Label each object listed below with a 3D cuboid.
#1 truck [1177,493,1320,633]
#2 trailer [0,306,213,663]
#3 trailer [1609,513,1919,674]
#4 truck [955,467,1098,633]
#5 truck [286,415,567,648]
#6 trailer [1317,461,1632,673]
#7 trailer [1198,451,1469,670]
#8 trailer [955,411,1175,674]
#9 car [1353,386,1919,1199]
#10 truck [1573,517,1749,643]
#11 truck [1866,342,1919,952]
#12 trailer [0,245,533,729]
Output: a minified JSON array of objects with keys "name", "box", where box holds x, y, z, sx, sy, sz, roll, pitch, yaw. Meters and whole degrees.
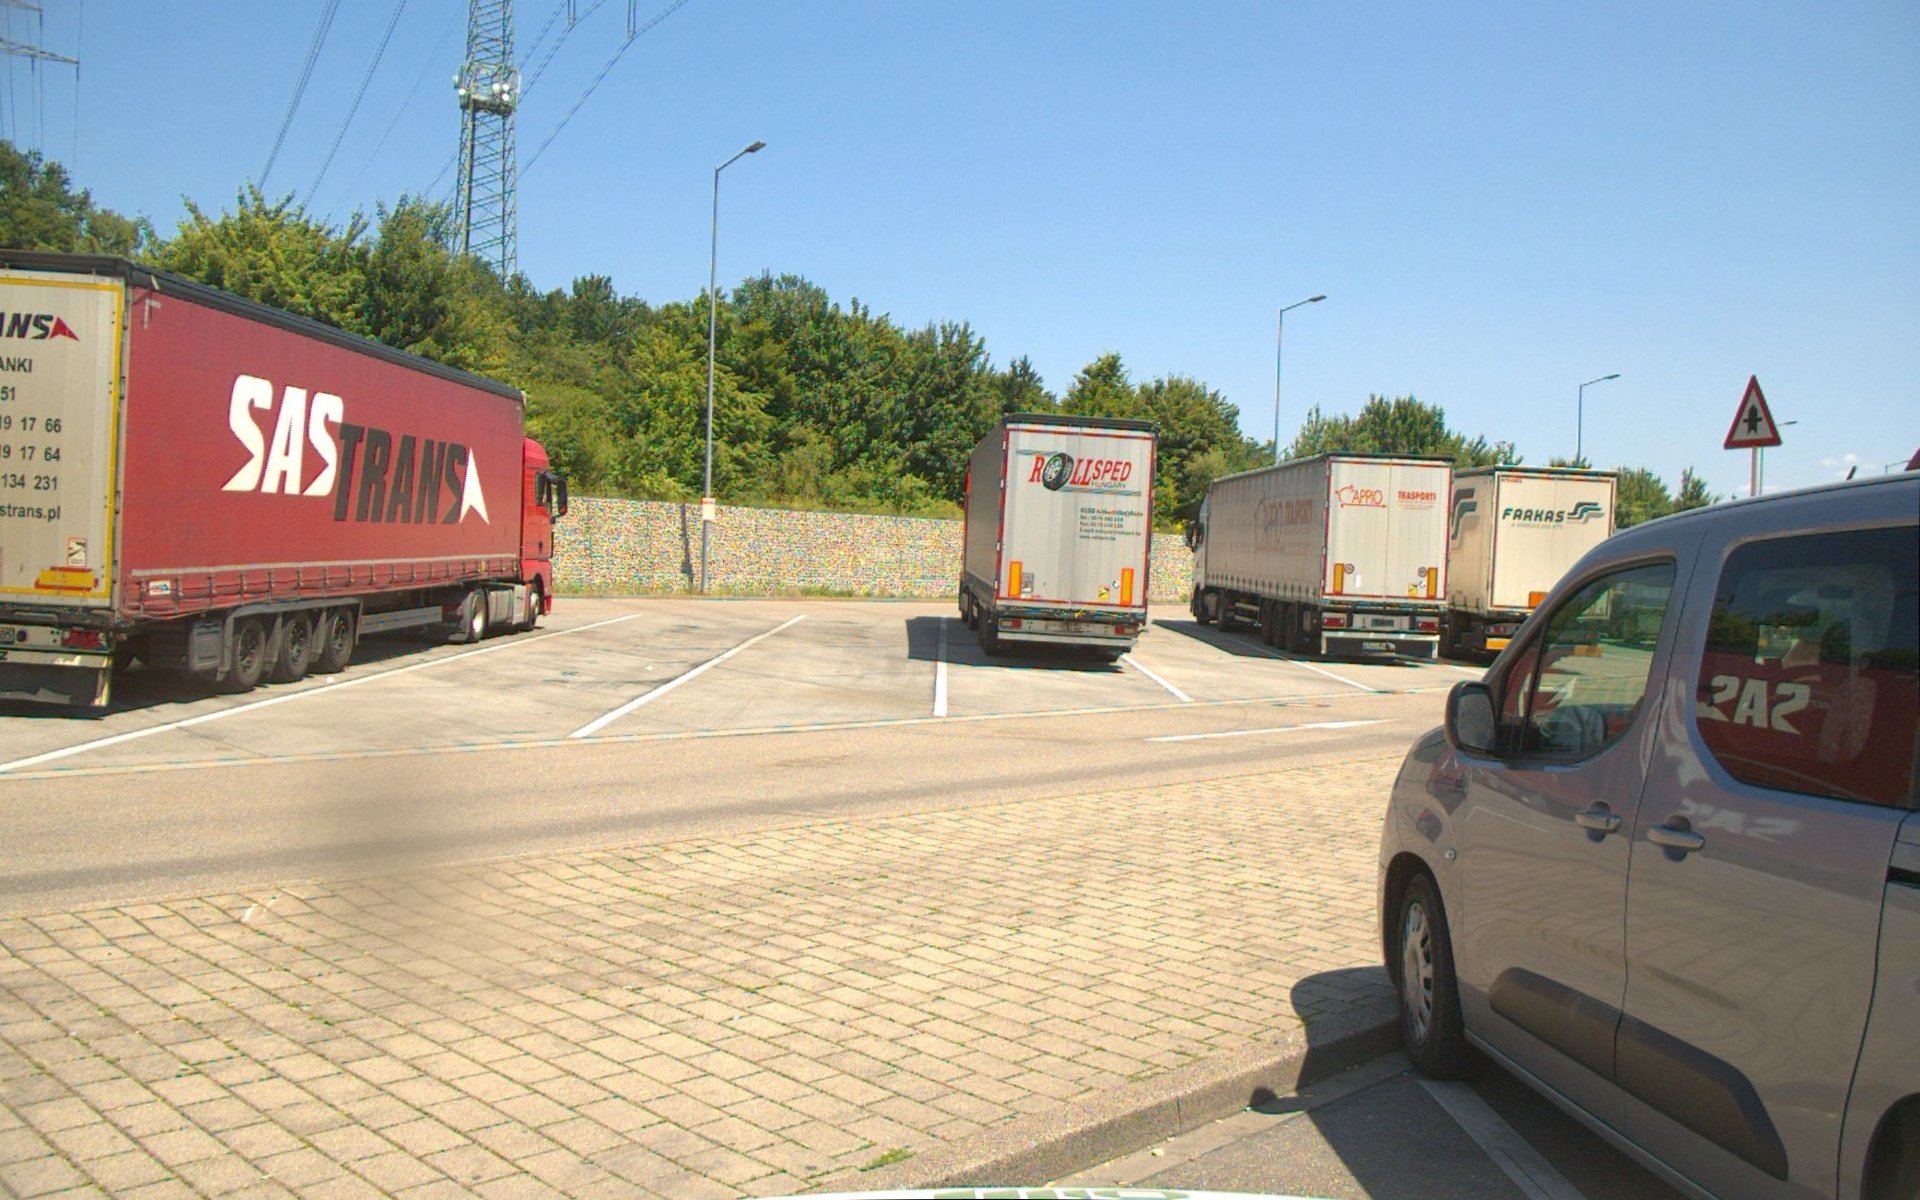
[{"name":"truck","box":[8.057,-1.100,46.955,2.804,3.582,5.900,3,2,-1]},{"name":"trailer","box":[-12.548,-1.338,17.716,2.739,4.155,14.131,3,2,-1]},{"name":"trailer","box":[21.847,-0.400,44.511,2.754,3.568,14.395,3,2,-1]},{"name":"truck","box":[1.505,-1.245,40.536,3.041,3.628,5.900,3,2,-1]},{"name":"truck","box":[-8.787,-1.154,28.010,2.793,3.385,5.900,3,2,-1]},{"name":"trailer","box":[11.737,-0.942,39.960,2.754,4.058,14.395,3,2,-1]},{"name":"trailer","box":[8.174,-1.036,38.855,2.754,4.058,14.395,3,2,-1]},{"name":"trailer","box":[1.662,-1.199,33.646,3.070,4.058,14.393,3,2,-1]},{"name":"car","box":[2.444,0.600,3.860,1.832,1.896,4.174,3,1,-2]},{"name":"truck","box":[21.769,-0.705,51.741,2.746,3.582,5.900,3,2,-1]},{"name":"truck","box":[5.006,0.197,4.984,1.937,2.668,5.307,1,0,4]},{"name":"trailer","box":[-8.722,-1.293,21.439,2.735,4.155,14.131,3,2,-1]}]
